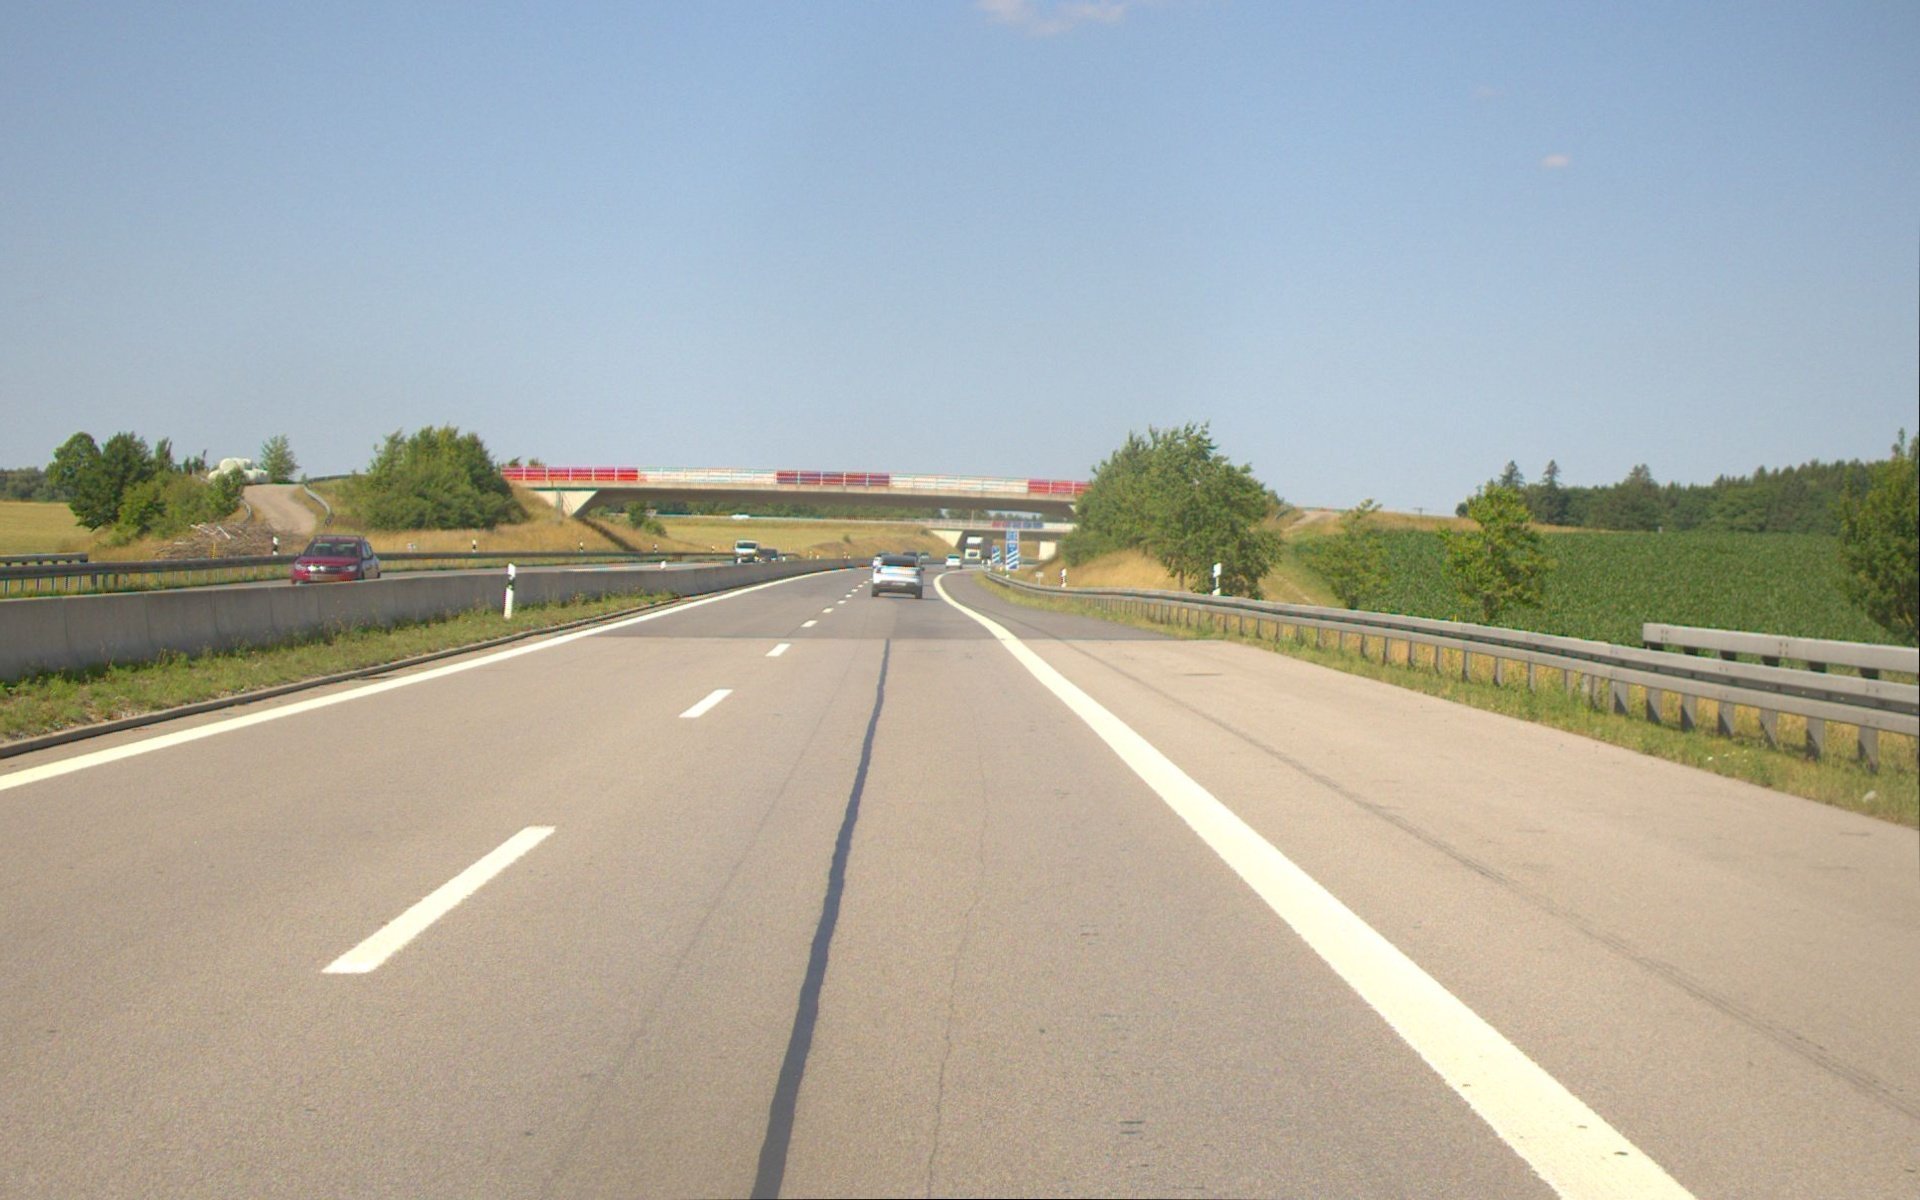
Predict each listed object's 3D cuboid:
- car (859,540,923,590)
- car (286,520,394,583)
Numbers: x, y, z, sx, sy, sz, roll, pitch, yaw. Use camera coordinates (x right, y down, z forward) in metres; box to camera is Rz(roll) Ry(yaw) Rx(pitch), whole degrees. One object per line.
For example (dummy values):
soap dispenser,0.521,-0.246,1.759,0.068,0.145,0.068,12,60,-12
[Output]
car,-2.557,-1.304,125.823,1.993,1.725,4.870,2,1,-5
car,-15.644,-1.239,86.963,1.898,1.518,4.806,-1,1,-1
